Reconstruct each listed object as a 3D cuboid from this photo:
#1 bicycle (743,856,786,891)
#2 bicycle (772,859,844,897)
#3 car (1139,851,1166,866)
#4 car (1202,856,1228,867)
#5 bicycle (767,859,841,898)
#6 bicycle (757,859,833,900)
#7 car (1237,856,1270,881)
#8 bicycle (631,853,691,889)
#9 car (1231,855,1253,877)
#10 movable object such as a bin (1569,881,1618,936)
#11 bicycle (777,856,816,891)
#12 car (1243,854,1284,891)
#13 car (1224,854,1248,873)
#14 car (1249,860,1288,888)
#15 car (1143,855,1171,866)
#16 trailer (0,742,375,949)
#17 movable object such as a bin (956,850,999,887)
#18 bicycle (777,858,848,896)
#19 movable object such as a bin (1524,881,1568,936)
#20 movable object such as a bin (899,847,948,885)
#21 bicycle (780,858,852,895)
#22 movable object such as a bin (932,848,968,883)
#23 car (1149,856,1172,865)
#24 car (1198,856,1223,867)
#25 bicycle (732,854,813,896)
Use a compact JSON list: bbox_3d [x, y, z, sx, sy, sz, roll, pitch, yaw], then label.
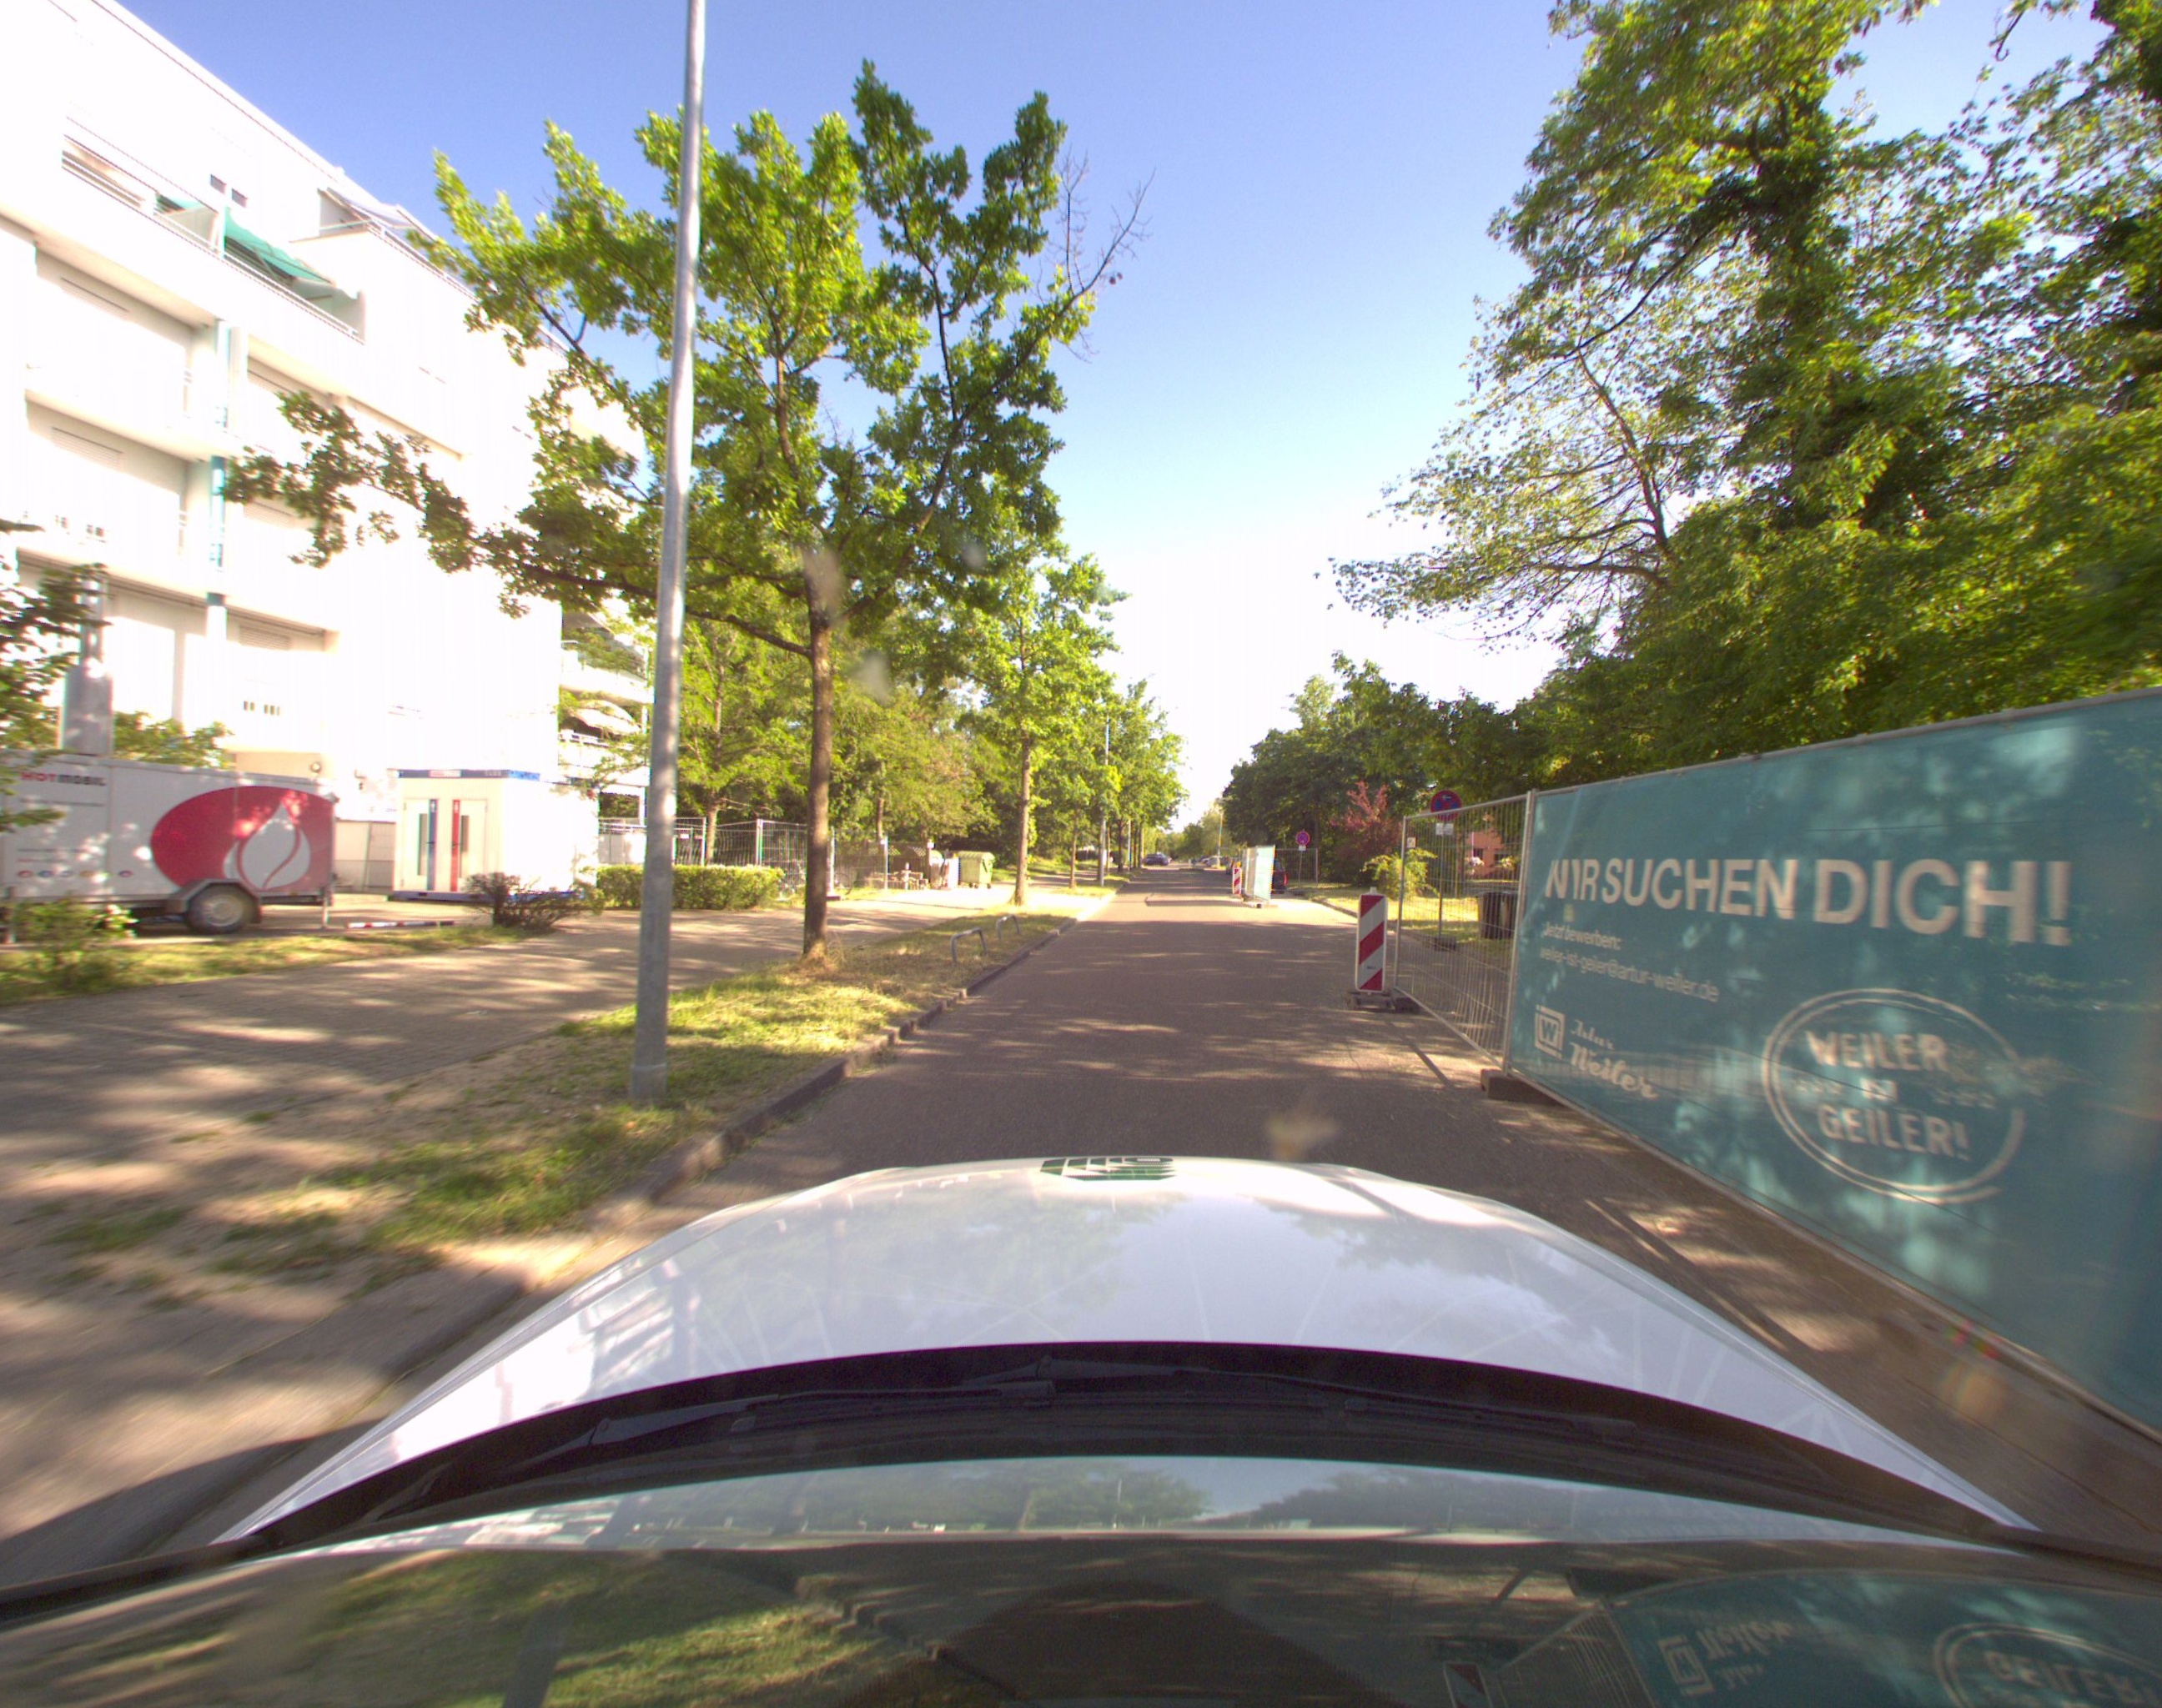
[{"bbox_3d":[-9.665,0.589,24.925,0.397,1.027,1.705,1,-1,9],"label":"bicycle"},{"bbox_3d":[-7.635,0.669,22.815,1.856,1.027,0.400,1,-1,-6],"label":"bicycle"},{"bbox_3d":[14.110,0.867,161.572,5.180,2.621,2.295,3,0,2],"label":"car"},{"bbox_3d":[21.529,1.229,130.684,3.812,1.576,1.694,3,0,13],"label":"car"},{"bbox_3d":[-7.585,0.663,22.334,1.835,1.027,0.400,1,-1,-6],"label":"bicycle"},{"bbox_3d":[-7.670,0.683,21.866,1.852,1.027,0.400,1,-1,-6],"label":"bicycle"},{"bbox_3d":[12.105,0.994,57.405,1.767,1.621,4.071,3,0,6],"label":"car"},{"bbox_3d":[-12.463,0.497,24.156,1.683,1.027,0.402,1,-1,12],"label":"bicycle"},{"bbox_3d":[13.902,0.991,70.442,1.614,1.773,3.676,3,0,7],"label":"car"},{"bbox_3d":[9.592,1.009,15.264,0.559,0.999,0.609,-1,-1,7],"label":"movable object such as a bin"},{"bbox_3d":[-8.650,0.579,24.844,0.397,1.027,1.703,1,-1,6],"label":"bicycle"},{"bbox_3d":[8.973,0.894,40.275,1.798,1.651,4.434,3,0,11],"label":"car"},{"bbox_3d":[15.507,0.963,81.554,1.783,1.785,4.561,3,0,4],"label":"car"},{"bbox_3d":[10.558,1.086,46.071,1.653,1.375,4.163,3,0,7],"label":"car"},{"bbox_3d":[12.731,1.044,136.262,4.288,1.576,2.053,3,0,13],"label":"car"},{"bbox_3d":[-11.720,-0.124,9.946,1.852,2.120,4.359,3,0,11],"label":"trailer"},{"bbox_3d":[-4.139,0.560,32.557,1.258,1.435,1.188,1,0,23],"label":"movable object such as a bin"},{"bbox_3d":[-7.656,0.663,23.243,1.835,1.027,0.400,1,-1,-6],"label":"bicycle"},{"bbox_3d":[8.750,1.017,15.352,0.516,0.999,0.609,-1,-1,7],"label":"movable object such as a bin"},{"bbox_3d":[-6.107,0.453,31.564,1.257,1.435,1.334,1,0,35],"label":"movable object such as a bin"},{"bbox_3d":[-7.694,0.649,23.717,1.912,1.027,0.400,1,-1,-6],"label":"bicycle"},{"bbox_3d":[-5.549,0.483,34.377,1.147,1.435,1.262,1,0,-27],"label":"movable object such as a bin"},{"bbox_3d":[14.976,1.231,152.736,4.083,1.576,1.963,3,0,9],"label":"car"},{"bbox_3d":[21.231,1.162,133.568,3.812,1.576,1.694,3,0,13],"label":"car"},{"bbox_3d":[-7.917,0.548,20.947,1.866,1.027,0.400,1,-1,-6],"label":"bicycle"}]
